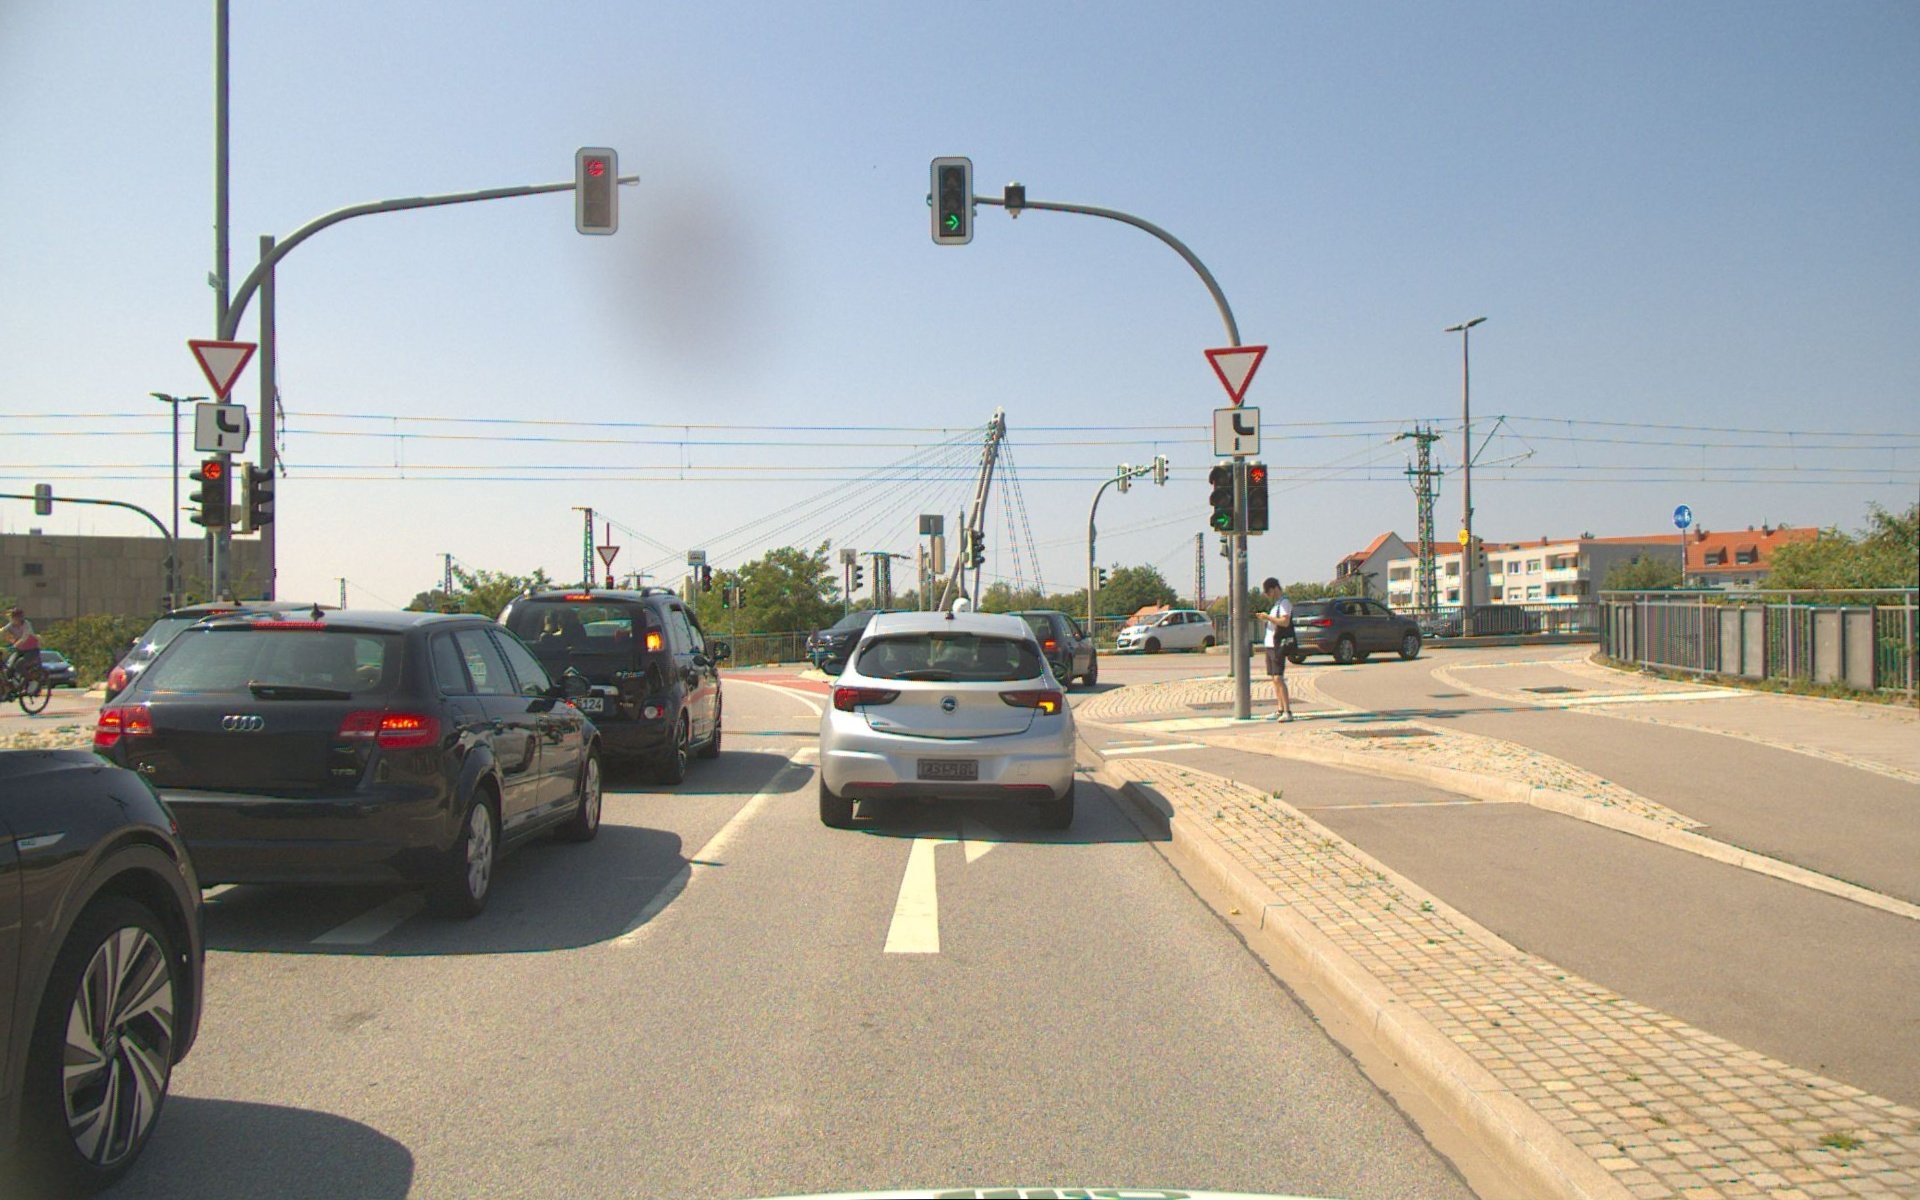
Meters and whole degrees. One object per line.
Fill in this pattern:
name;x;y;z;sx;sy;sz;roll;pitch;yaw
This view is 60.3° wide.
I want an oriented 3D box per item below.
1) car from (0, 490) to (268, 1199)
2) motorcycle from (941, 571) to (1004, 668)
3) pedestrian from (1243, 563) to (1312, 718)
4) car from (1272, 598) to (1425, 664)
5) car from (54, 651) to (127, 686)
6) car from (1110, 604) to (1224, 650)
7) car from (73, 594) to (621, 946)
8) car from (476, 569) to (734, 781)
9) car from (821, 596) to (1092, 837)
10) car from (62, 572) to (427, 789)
car;-2.894;0.576;2.571;1.765;1.670;4.365;1;-1;0
motorcycle;0.133;0.271;20.510;0.492;1.030;2.171;-8;-3;-4
pedestrian;3.930;0.500;20.512;0.634;1.868;0.797;-2;-1;-2
car;9.883;0.774;41.969;3.960;1.591;1.706;1;0;-39
car;-34.474;2.698;65.567;1.805;1.354;3.943;2;-3;-39
car;7.151;0.921;57.189;3.580;1.512;1.676;2;-1;-27
car;-2.976;0.742;8.893;1.543;1.459;3.785;1;-1;-1
car;-3.064;0.620;14.995;1.616;1.644;3.818;1;-1;-2
car;-0.102;0.769;12.561;1.708;1.504;3.998;1;-1;-3
car;-5.906;0.620;14.145;1.565;1.574;3.760;1;-1;-2
